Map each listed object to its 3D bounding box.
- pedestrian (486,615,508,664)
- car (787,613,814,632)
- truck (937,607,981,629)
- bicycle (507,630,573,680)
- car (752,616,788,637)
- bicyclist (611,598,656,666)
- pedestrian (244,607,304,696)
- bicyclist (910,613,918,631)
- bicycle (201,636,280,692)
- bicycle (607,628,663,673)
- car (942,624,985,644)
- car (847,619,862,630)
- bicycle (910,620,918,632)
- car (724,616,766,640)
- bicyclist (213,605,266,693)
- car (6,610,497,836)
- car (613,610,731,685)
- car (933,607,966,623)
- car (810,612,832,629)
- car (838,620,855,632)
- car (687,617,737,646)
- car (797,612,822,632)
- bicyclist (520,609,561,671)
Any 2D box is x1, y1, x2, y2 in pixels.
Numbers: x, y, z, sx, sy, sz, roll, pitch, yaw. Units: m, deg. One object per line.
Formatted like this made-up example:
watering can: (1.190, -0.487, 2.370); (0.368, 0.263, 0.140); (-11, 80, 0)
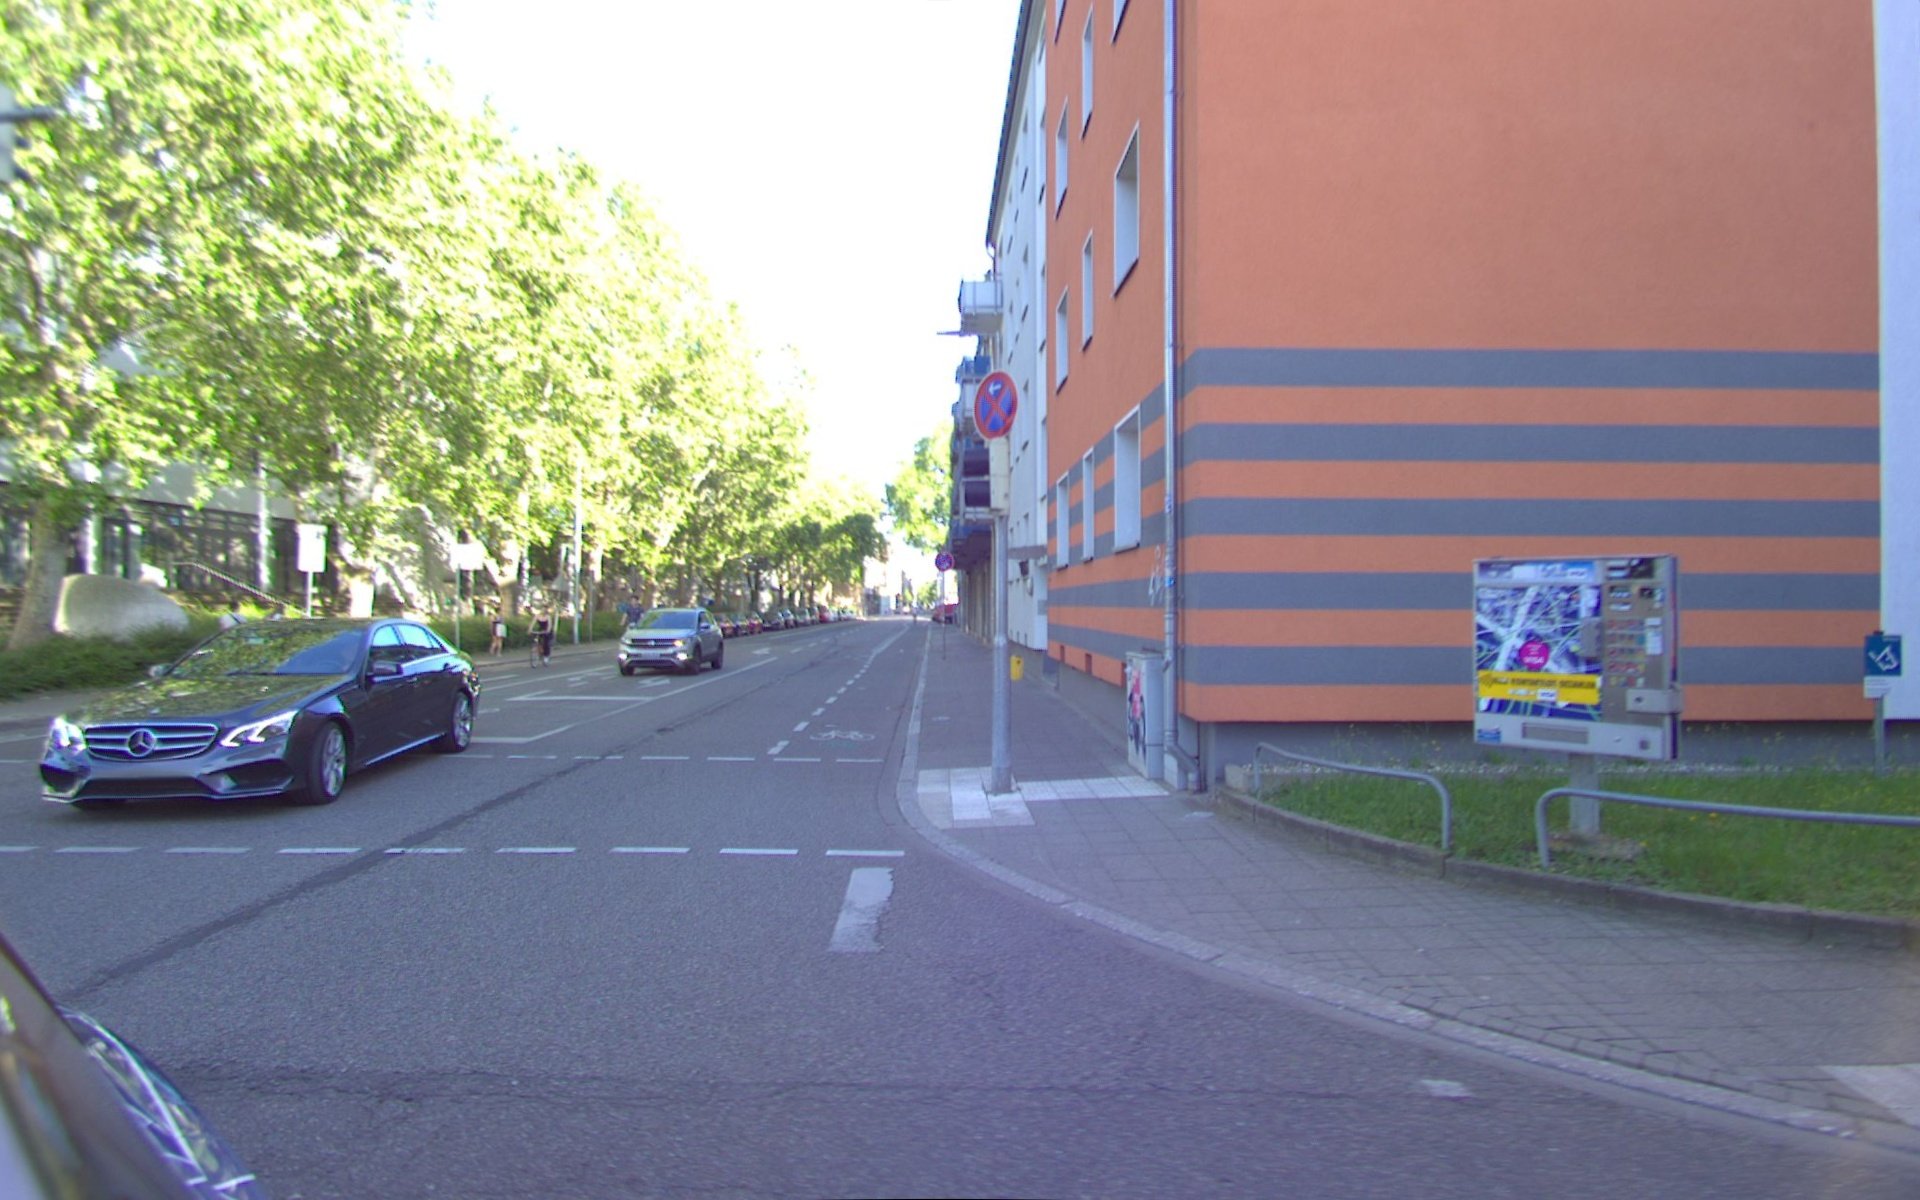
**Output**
pedestrian: (-15.264, 1.299, 33.364); (0.456, 1.606, 0.683); (0, 0, -3)
car: (-14.468, 2.018, 91.763); (1.873, 1.664, 4.077); (0, -1, -1)
truck: (-0.125, 1.823, 101.633); (4.342, 2.174, 1.879); (0, 0, -3)
bicycle: (-11.699, 1.502, 28.311); (0.759, 1.144, 2.818); (-3, 2, -3)
car: (-13.911, 1.918, 74.279); (1.873, 1.462, 4.077); (0, -1, -1)
bicyclist: (-9.028, 0.878, 27.984); (0.760, 1.745, 0.901); (-8, 0, -3)
pedestrian: (-13.781, 1.026, 20.340); (0.764, 1.732, 0.692); (0, 1, -2)
bicyclist: (-4.127, 1.984, 90.877); (0.682, 1.643, 0.759); (0, 1, -3)
bicycle: (-14.706, 1.283, 20.727); (0.515, 1.042, 1.648); (0, 0, -3)
bicycle: (-8.927, 1.386, 27.901); (0.759, 1.144, 2.817); (-2, -2, -3)
car: (0.341, 3.212, 96.337); (3.941, 1.849, 1.832); (0, 0, -3)
car: (-14.959, 3.474, 143.674); (1.873, 1.563, 4.077); (0, -1, -1)
bicycle: (-4.129, 2.322, 90.953); (0.682, 0.993, 2.634); (0, 1, -3)
car: (-13.743, 1.779, 64.889); (1.873, 1.462, 4.077); (0, -1, -1)
bicyclist: (-14.529, 0.970, 20.420); (0.625, 1.726, 0.655); (1, 1, -2)
car: (-5.948, 0.863, 9.345); (1.771, 1.479, 4.728); (0, 0, -8)
car: (-6.755, 1.064, 24.161); (1.723, 1.616, 4.000); (0, 0, -1)
car: (-1.346, 1.902, 126.960); (3.941, 2.029, 2.001); (0, 0, -3)
car: (-14.769, 2.150, 107.512); (1.873, 1.832, 4.077); (0, -1, -1)
car: (-14.981, 3.424, 133.616); (1.873, 1.563, 4.077); (0, -1, -1)
car: (-13.352, 1.668, 54.670); (1.872, 1.454, 4.079); (0, -1, -3)
car: (-14.321, 2.066, 96.524); (1.873, 1.865, 4.077); (0, -1, -1)
bicyclist: (-11.713, 1.111, 28.299); (0.759, 1.692, 0.896); (-2, 0, -3)
